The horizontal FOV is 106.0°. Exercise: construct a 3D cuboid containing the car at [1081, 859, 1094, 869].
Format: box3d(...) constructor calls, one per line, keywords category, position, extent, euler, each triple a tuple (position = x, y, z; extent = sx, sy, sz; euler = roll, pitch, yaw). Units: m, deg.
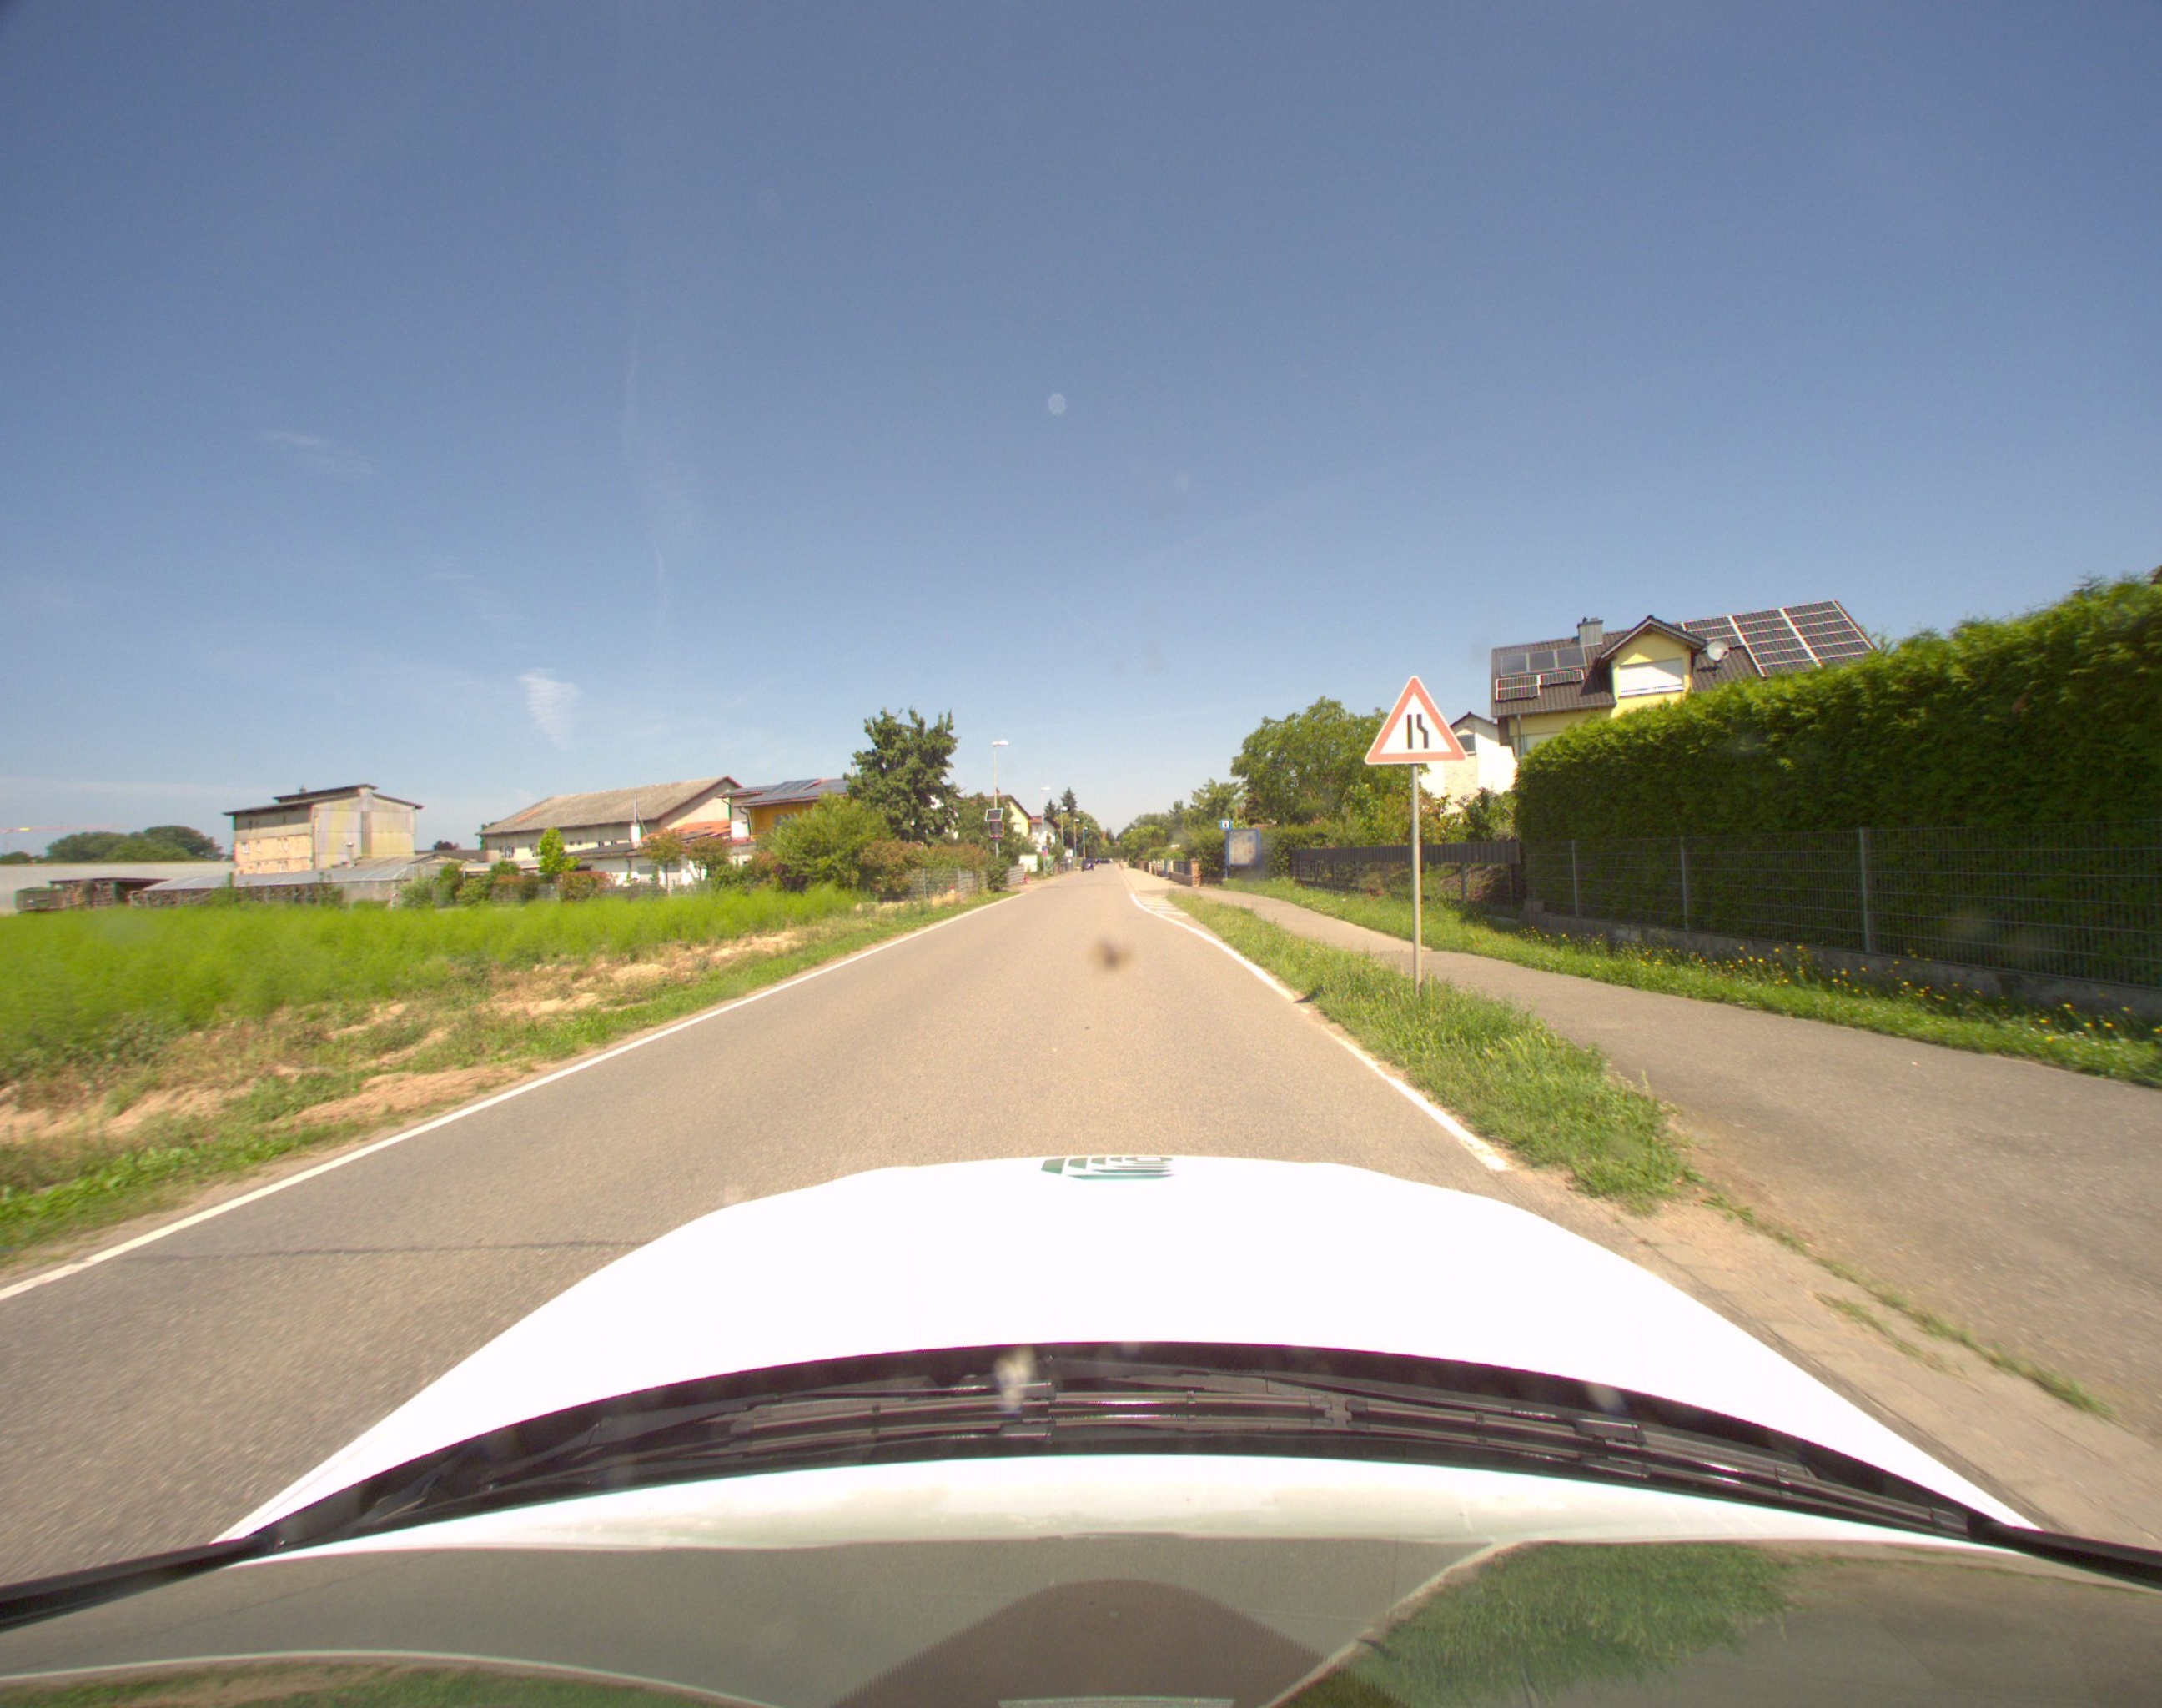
box3d(category="car", position=(1.030, 1.451, 121.392), extent=(1.752, 1.385, 3.454), euler=(-3, 0, 2))
